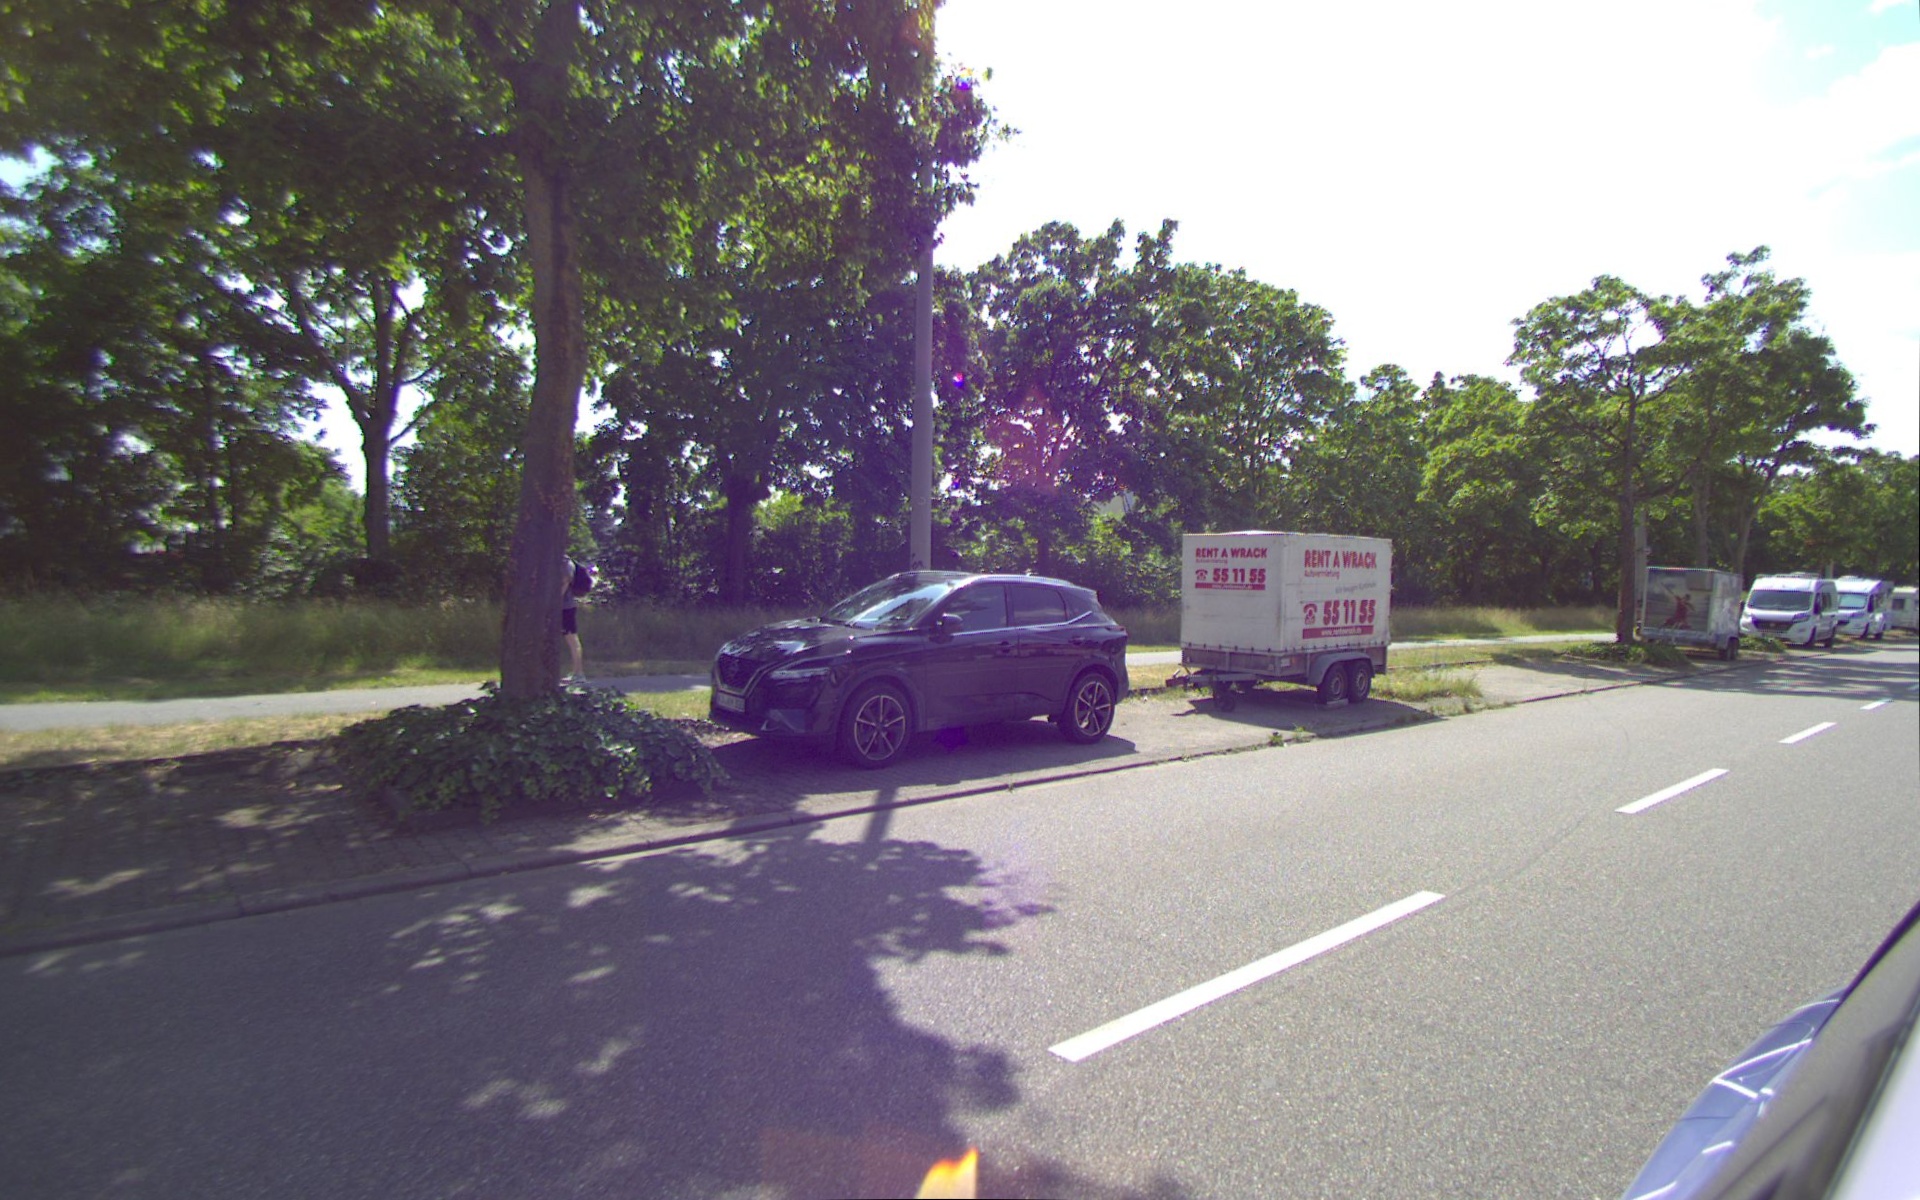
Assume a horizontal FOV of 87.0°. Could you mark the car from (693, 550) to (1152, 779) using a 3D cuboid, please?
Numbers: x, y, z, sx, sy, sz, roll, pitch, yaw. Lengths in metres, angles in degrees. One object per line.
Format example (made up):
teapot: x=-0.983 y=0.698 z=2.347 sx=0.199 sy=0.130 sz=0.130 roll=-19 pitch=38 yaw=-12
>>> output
car: x=-0.181 y=0.439 z=9.611 sx=4.285 sy=1.711 sz=1.594 roll=-1 pitch=3 yaw=-41

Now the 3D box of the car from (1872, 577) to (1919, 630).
car: x=50.547 y=0.148 z=53.763 sx=6.651 sy=2.571 sz=2.261 roll=-1 pitch=4 yaw=-42

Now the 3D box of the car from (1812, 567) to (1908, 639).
car: x=39.972 y=0.070 z=44.877 sx=6.651 sy=2.836 sz=2.261 roll=-1 pitch=4 yaw=-42

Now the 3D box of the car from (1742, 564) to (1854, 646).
car: x=30.199 y=0.143 z=36.402 sx=6.045 sy=2.729 sz=2.178 roll=-1 pitch=0 yaw=-42

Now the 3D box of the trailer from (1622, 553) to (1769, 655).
trailer: x=19.820 y=0.042 z=27.201 sx=4.698 sy=2.393 sz=1.999 roll=-1 pitch=6 yaw=-41

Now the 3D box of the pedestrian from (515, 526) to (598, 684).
pedestrian: x=-4.839 y=0.060 z=12.136 sx=0.727 sy=1.816 sz=0.718 roll=0 pitch=-1 yaw=-41

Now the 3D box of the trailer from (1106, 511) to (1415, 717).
trailer: x=4.250 y=0.102 z=13.929 sx=4.527 sy=2.380 sz=1.956 roll=0 pitch=3 yaw=-42
